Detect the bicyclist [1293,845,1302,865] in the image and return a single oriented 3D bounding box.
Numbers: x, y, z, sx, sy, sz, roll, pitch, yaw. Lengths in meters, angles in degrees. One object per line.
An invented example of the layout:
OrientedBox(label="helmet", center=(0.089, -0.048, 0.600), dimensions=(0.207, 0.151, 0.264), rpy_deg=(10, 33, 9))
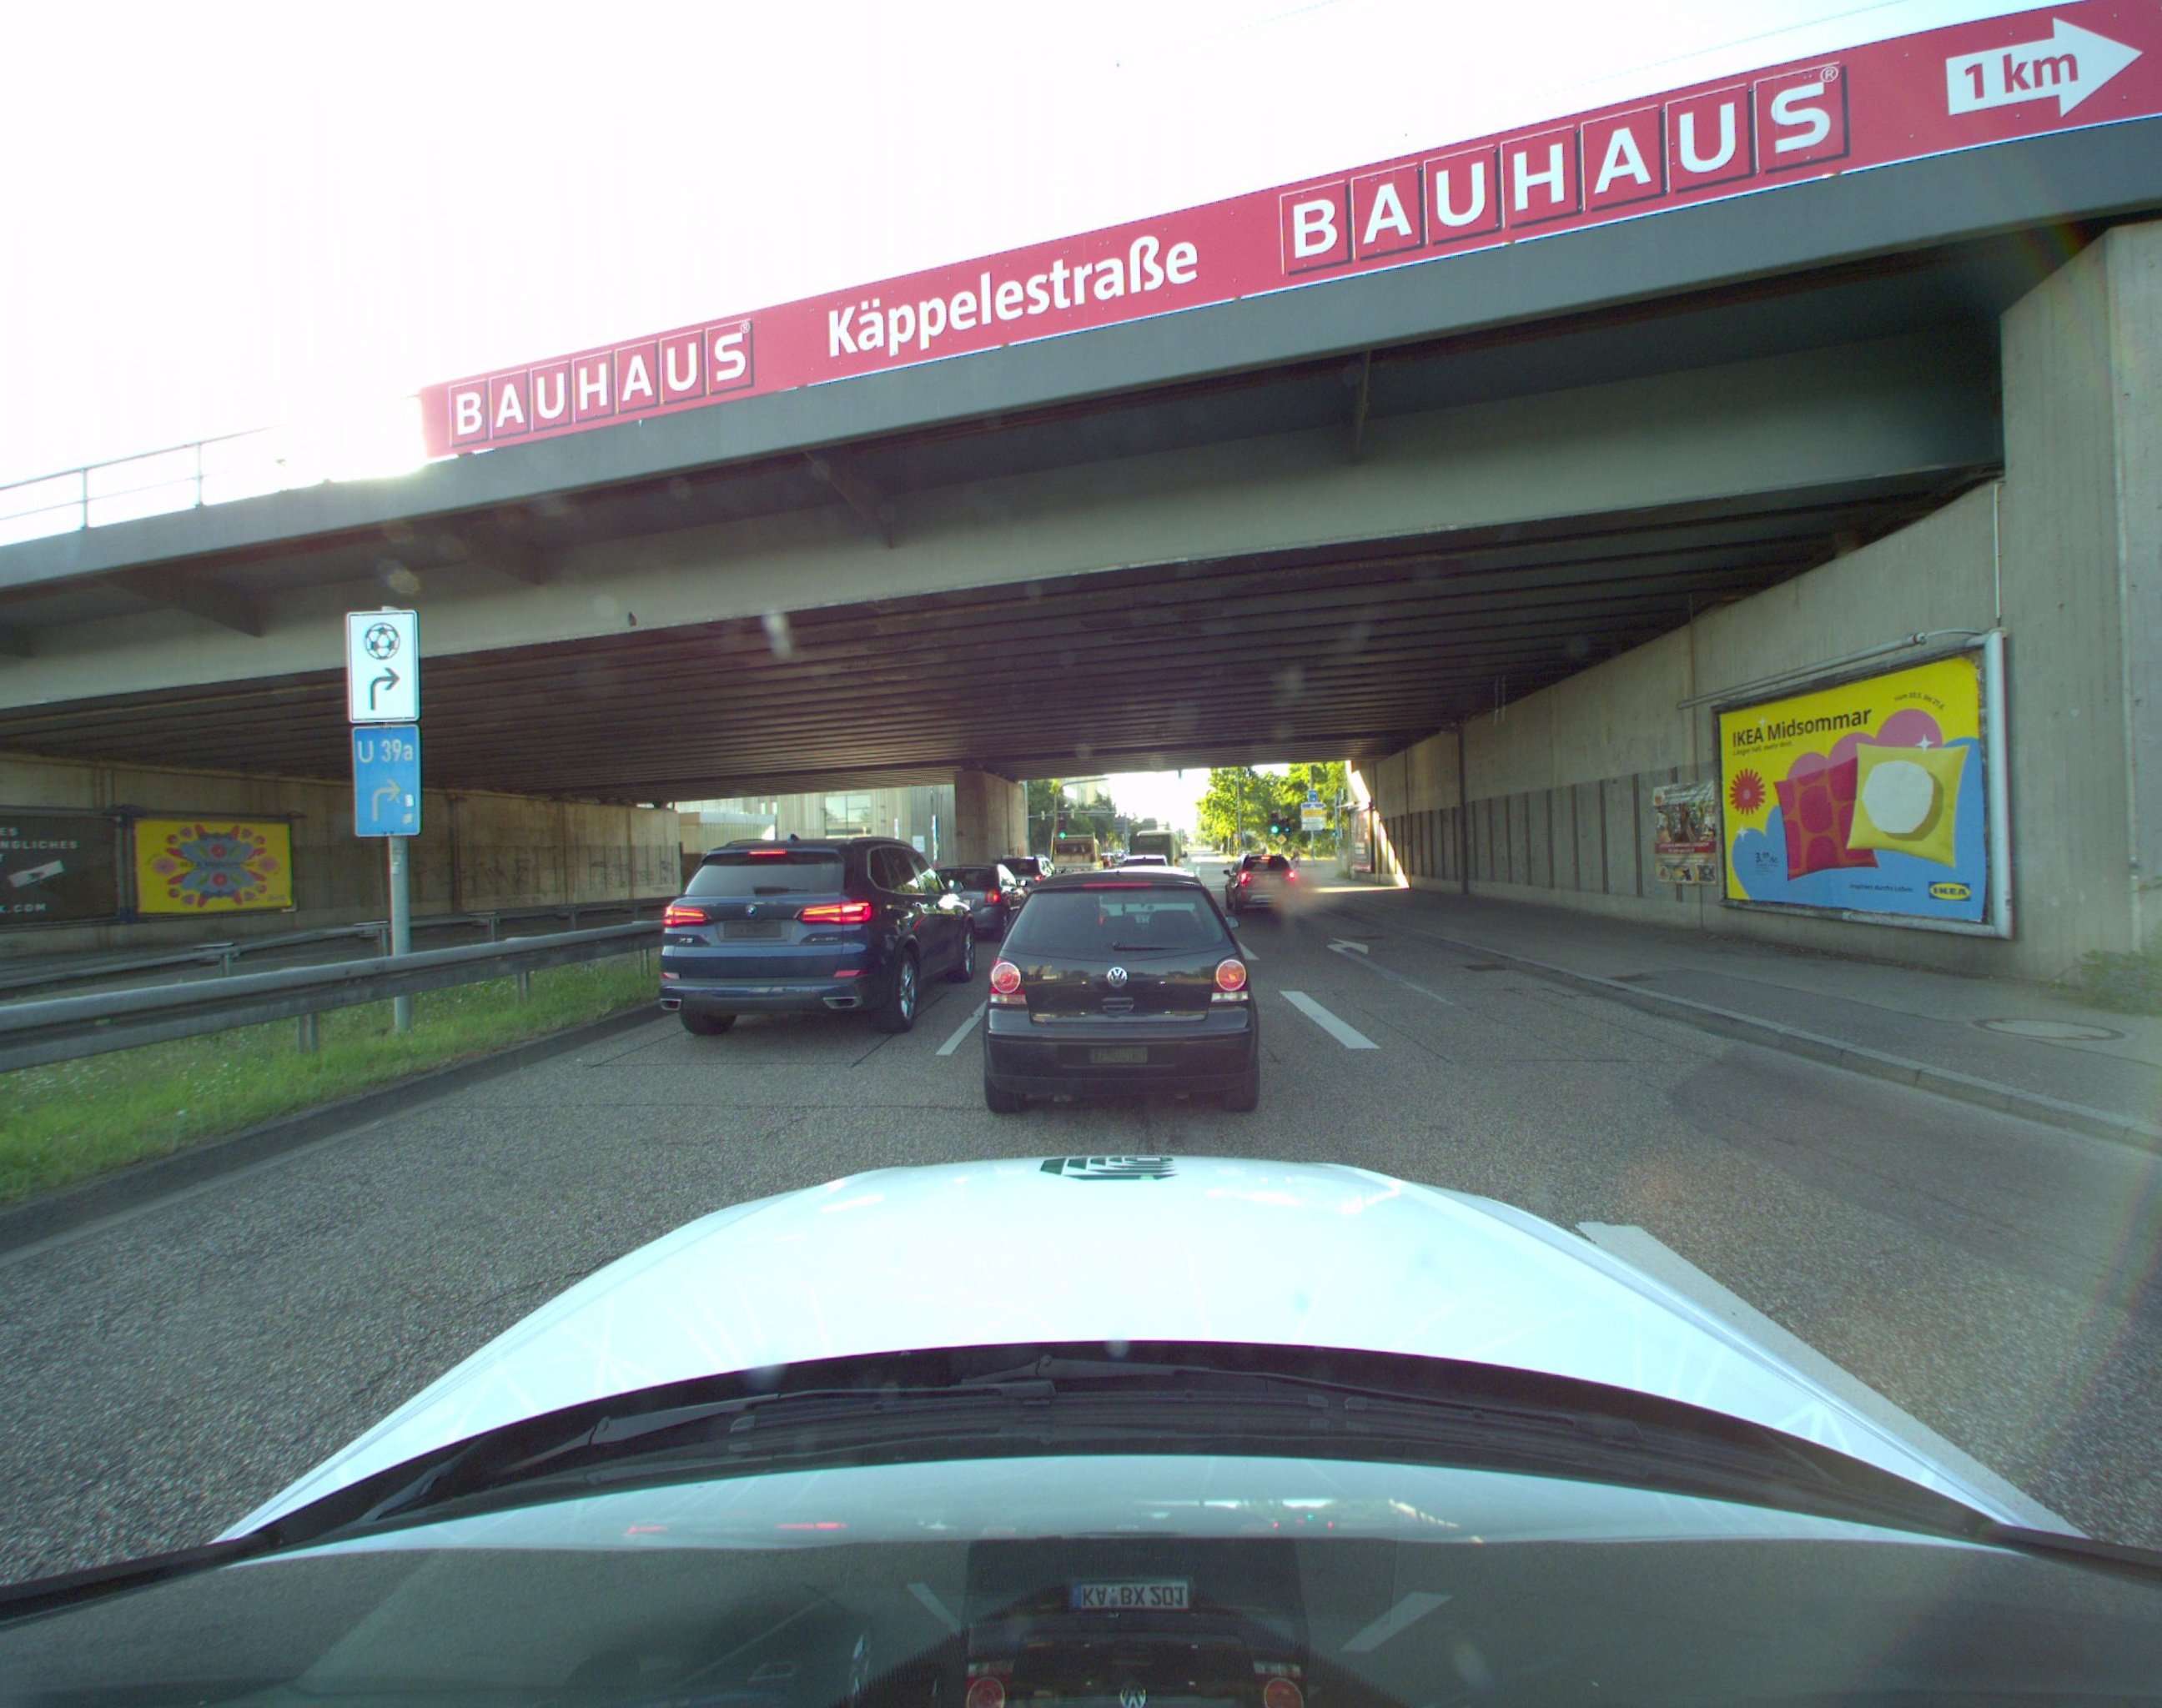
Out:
OrientedBox(label="bicyclist", center=(13.927, 0.065, 52.373), dimensions=(0.425, 1.233, 0.461), rpy_deg=(-2, -1, 8))

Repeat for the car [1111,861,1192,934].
OrientedBox(label="car", center=(1.488, 0.876, 17.935), dimensions=(1.572, 1.413, 4.065), rpy_deg=(0, 0, 3))

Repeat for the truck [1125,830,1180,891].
OrientedBox(label="truck", center=(2.961, 0.251, 33.024), dimensions=(1.984, 2.315, 4.009), rpy_deg=(-1, -1, 8))

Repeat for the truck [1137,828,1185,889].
OrientedBox(label="truck", center=(3.768, 0.225, 37.923), dimensions=(1.984, 2.668, 4.009), rpy_deg=(-1, -1, 8))

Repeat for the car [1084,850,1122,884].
OrientedBox(label="car", center=(1.178, 0.678, 42.286), dimensions=(1.608, 1.679, 3.691), rpy_deg=(0, -1, 7))

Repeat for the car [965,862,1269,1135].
OrientedBox(label="car", center=(0.410, 0.776, 6.171), dimensions=(1.608, 1.409, 3.690), rpy_deg=(0, -1, 7))

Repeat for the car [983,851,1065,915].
OrientedBox(label="car", center=(-1.541, 0.786, 23.307), dimensions=(1.608, 1.679, 3.691), rpy_deg=(0, -1, 7))

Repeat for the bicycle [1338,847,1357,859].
OrientedBox(label="bicycle", center=(25.155, -0.079, 76.840), dimensions=(1.647, 0.991, 0.581), rpy_deg=(-3, 2, 25))

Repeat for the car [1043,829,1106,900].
OrientedBox(label="car", center=(-0.180, 0.402, 32.549), dimensions=(2.127, 2.576, 5.092), rpy_deg=(0, -1, 4))

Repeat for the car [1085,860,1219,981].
OrientedBox(label="car", center=(0.952, 0.801, 11.632), dimensions=(1.572, 1.413, 4.065), rpy_deg=(0, 0, 3))

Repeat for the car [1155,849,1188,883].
OrientedBox(label="car", center=(4.798, 0.625, 42.733), dimensions=(1.608, 1.679, 3.691), rpy_deg=(0, -1, 7))

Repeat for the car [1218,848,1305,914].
OrientedBox(label="car", center=(4.875, 0.692, 22.506), dimensions=(1.729, 1.630, 4.065), rpy_deg=(0, -1, 3))

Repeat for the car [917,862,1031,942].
OrientedBox(label="car", center=(-2.010, 0.869, 16.316), dimensions=(1.610, 1.409, 3.686), rpy_deg=(0, -1, 3))

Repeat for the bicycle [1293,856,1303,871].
OrientedBox(label="bicycle", center=(13.937, 0.585, 52.334), dimensions=(0.435, 0.914, 1.029), rpy_deg=(-3, -1, 9))

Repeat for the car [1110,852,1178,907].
OrientedBox(label="car", center=(1.996, 0.735, 24.844), dimensions=(1.786, 1.559, 4.009), rpy_deg=(-1, -1, 8))

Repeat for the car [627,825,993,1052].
OrientedBox(label="car", center=(-2.353, 0.668, 8.549), dimensions=(1.984, 1.734, 4.539), rpy_deg=(0, -1, 5))
